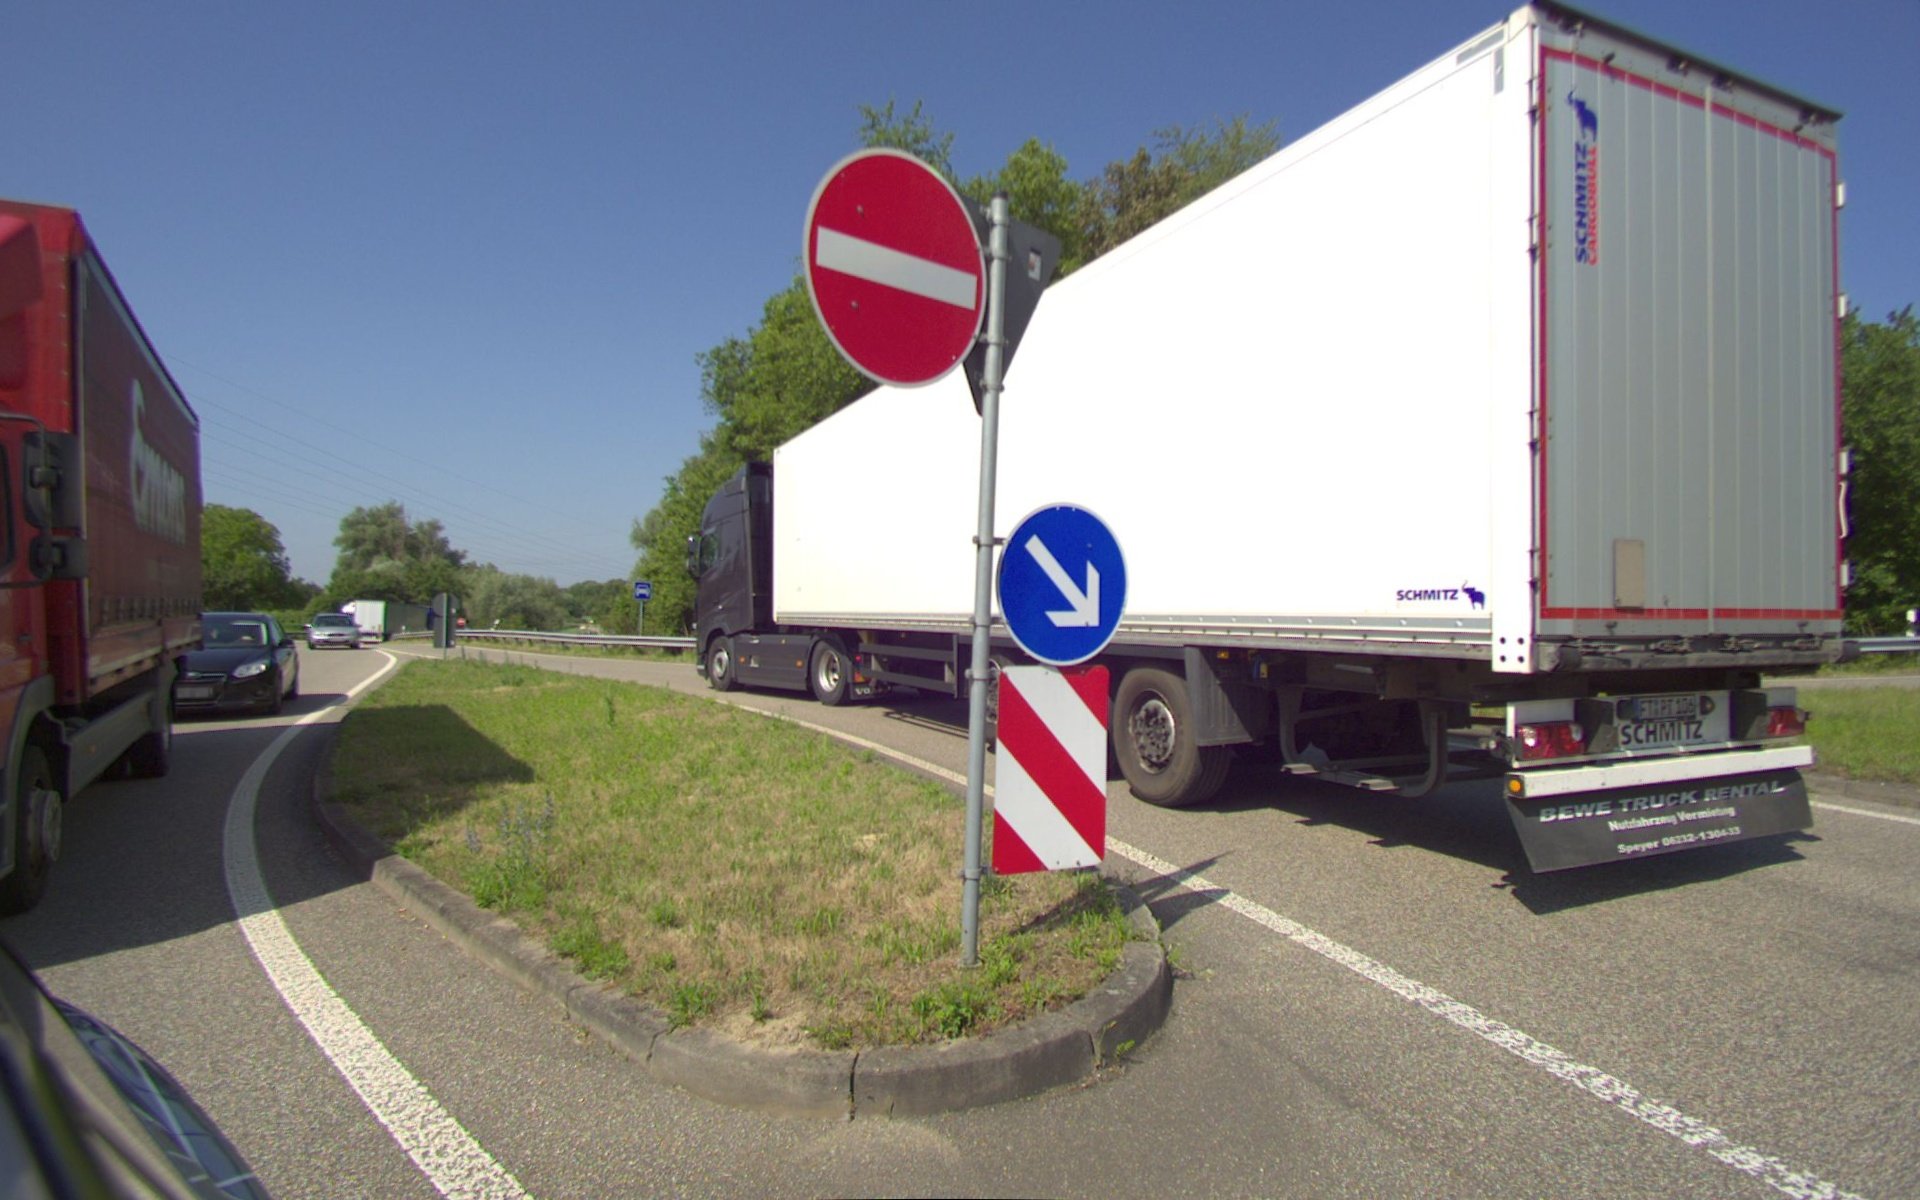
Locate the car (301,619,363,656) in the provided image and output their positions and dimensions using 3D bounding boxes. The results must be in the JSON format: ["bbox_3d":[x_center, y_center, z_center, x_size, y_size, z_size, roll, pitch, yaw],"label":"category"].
[{"bbox_3d":[-25.215,1.466,40.572,1.759,1.396,4.388,0,-1,-37],"label":"car"}]

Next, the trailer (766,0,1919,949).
[{"bbox_3d":[0.905,-0.670,10.999,2.846,4.197,14.027,-1,0,-24],"label":"trailer"}]

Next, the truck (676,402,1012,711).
[{"bbox_3d":[-2.202,-0.556,16.981,2.833,4.205,5.982,-1,-1,-38],"label":"truck"}]

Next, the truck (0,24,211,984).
[{"bbox_3d":[-7.261,-0.311,7.091,2.646,3.689,9.288,0,-1,-33],"label":"truck"}]

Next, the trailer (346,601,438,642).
[{"bbox_3d":[-63.075,2.480,112.976,2.888,4.272,13.987,1,-2,-3],"label":"trailer"}]

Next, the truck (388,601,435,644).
[{"bbox_3d":[-57.062,2.392,105.433,2.891,4.279,5.748,2,-2,-14],"label":"truck"}]

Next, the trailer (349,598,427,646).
[{"bbox_3d":[-55.367,2.175,98.389,2.910,4.300,14.018,2,-2,-14],"label":"trailer"}]

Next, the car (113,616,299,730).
[{"bbox_3d":[-10.953,0.958,14.971,1.758,1.425,4.012,0,-1,-30],"label":"car"}]
